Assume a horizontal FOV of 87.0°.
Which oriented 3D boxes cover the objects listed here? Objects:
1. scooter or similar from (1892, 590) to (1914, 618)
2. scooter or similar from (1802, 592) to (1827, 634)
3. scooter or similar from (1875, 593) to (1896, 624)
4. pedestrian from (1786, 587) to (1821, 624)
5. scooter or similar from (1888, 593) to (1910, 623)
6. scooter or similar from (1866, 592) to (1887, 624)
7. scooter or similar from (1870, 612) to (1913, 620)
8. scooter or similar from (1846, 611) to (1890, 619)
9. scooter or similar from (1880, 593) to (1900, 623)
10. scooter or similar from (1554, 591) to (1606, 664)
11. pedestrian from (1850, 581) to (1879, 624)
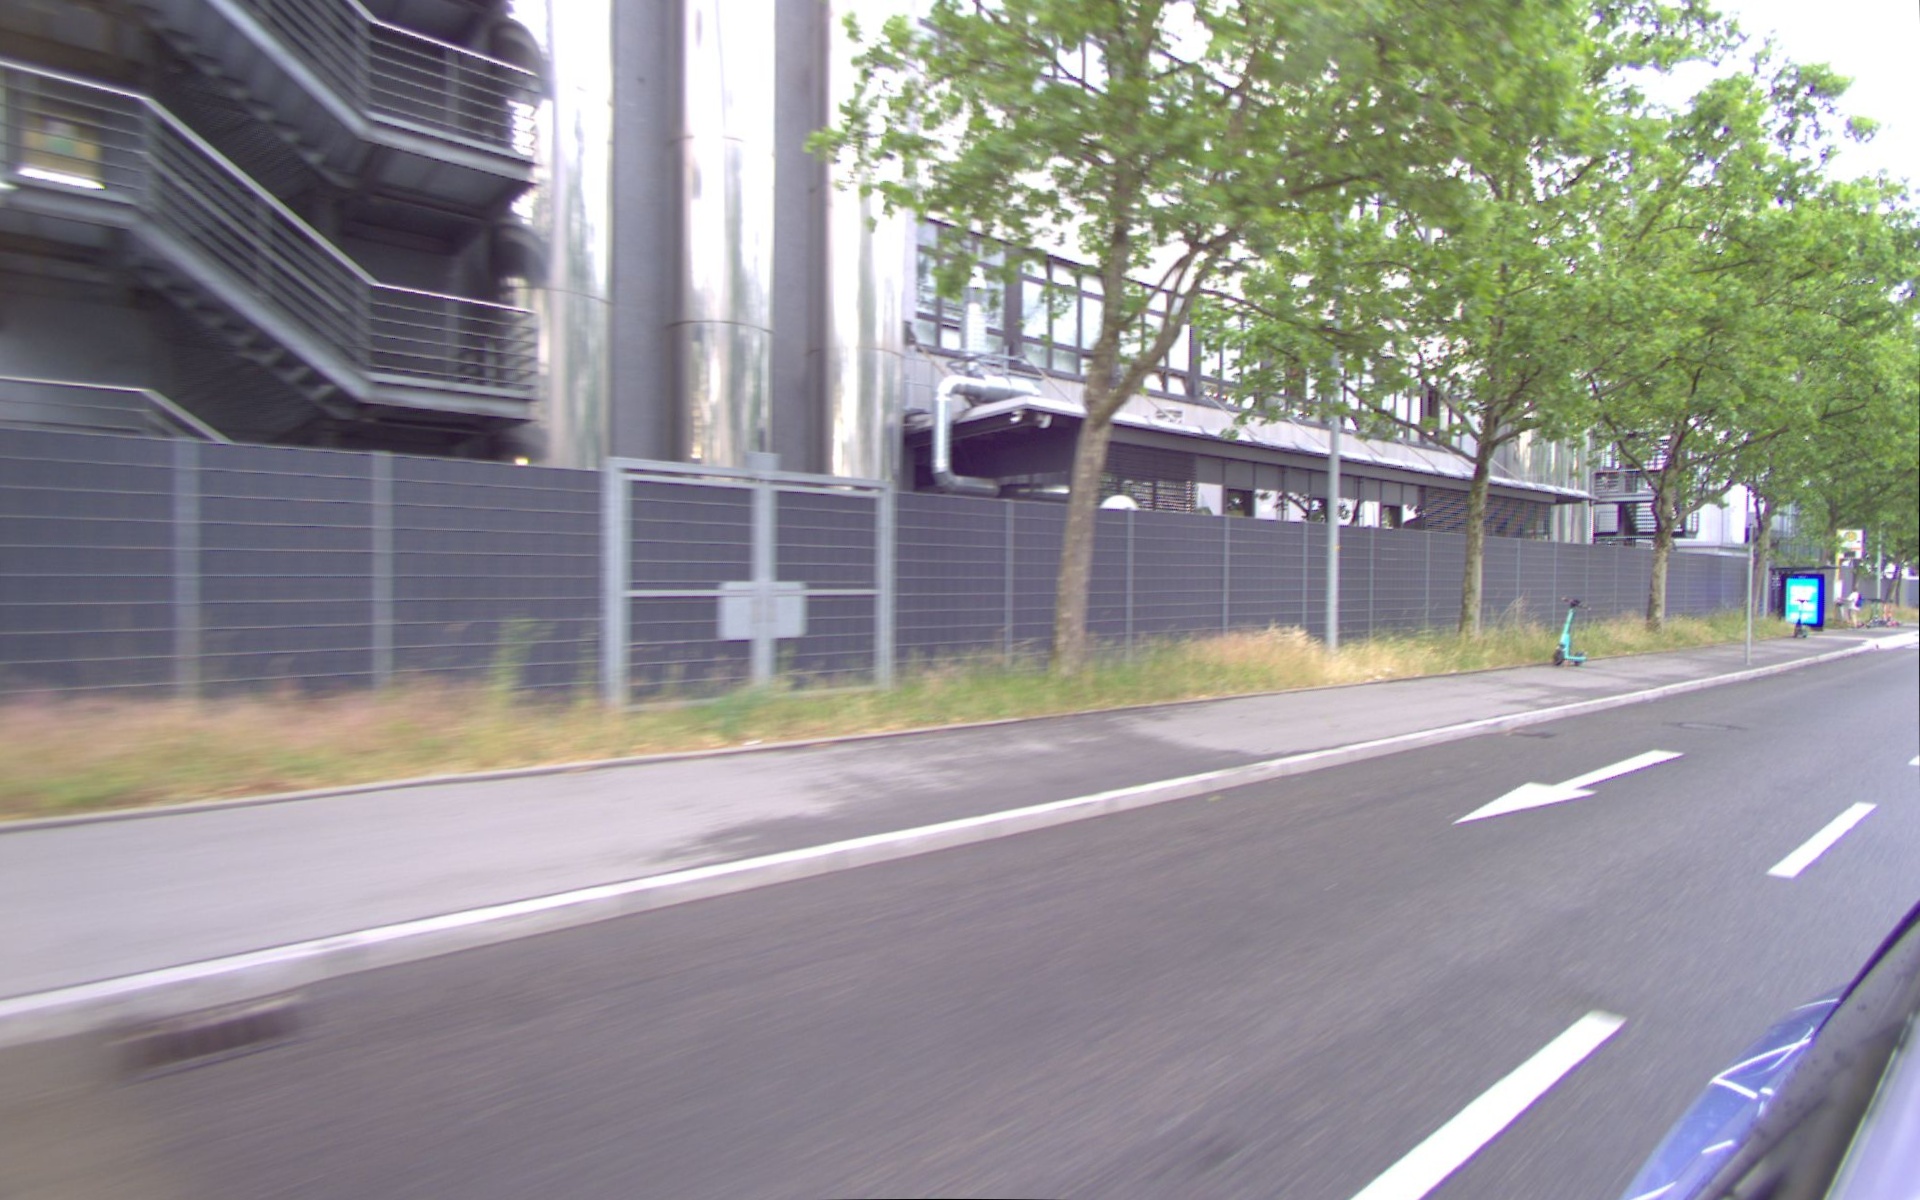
[{"bbox_3d":[44.790,0.189,48.074,1.275,1.301,0.437,0,1,-34],"label":"scooter or similar"},{"bbox_3d":[27.730,0.411,32.826,1.222,1.325,0.329,0,1,-37],"label":"scooter or similar"},{"bbox_3d":[39.735,0.371,43.435,1.277,1.311,0.437,0,1,-38],"label":"scooter or similar"},{"bbox_3d":[33.110,0.197,39.744,0.686,1.433,0.932,0,1,-41],"label":"pedestrian"},{"bbox_3d":[42.762,0.355,46.085,1.340,1.311,0.437,0,1,-34],"label":"scooter or similar"},{"bbox_3d":[38.644,0.344,42.665,1.277,1.311,0.437,0,1,-38],"label":"scooter or similar"},{"bbox_3d":[45.981,0.767,49.977,1.168,0.314,1.194,1,2,21],"label":"scooter or similar"},{"bbox_3d":[43.565,0.720,48.561,1.231,0.349,1.104,0,2,-17],"label":"scooter or similar"},{"bbox_3d":[41.269,0.361,44.917,1.277,1.311,0.437,0,1,-38],"label":"scooter or similar"},{"bbox_3d":[11.251,0.481,18.362,1.087,1.285,0.330,0,1,-32],"label":"scooter or similar"},{"bbox_3d":[36.791,0.080,41.180,0.717,1.731,0.777,0,1,-41],"label":"pedestrian"}]
